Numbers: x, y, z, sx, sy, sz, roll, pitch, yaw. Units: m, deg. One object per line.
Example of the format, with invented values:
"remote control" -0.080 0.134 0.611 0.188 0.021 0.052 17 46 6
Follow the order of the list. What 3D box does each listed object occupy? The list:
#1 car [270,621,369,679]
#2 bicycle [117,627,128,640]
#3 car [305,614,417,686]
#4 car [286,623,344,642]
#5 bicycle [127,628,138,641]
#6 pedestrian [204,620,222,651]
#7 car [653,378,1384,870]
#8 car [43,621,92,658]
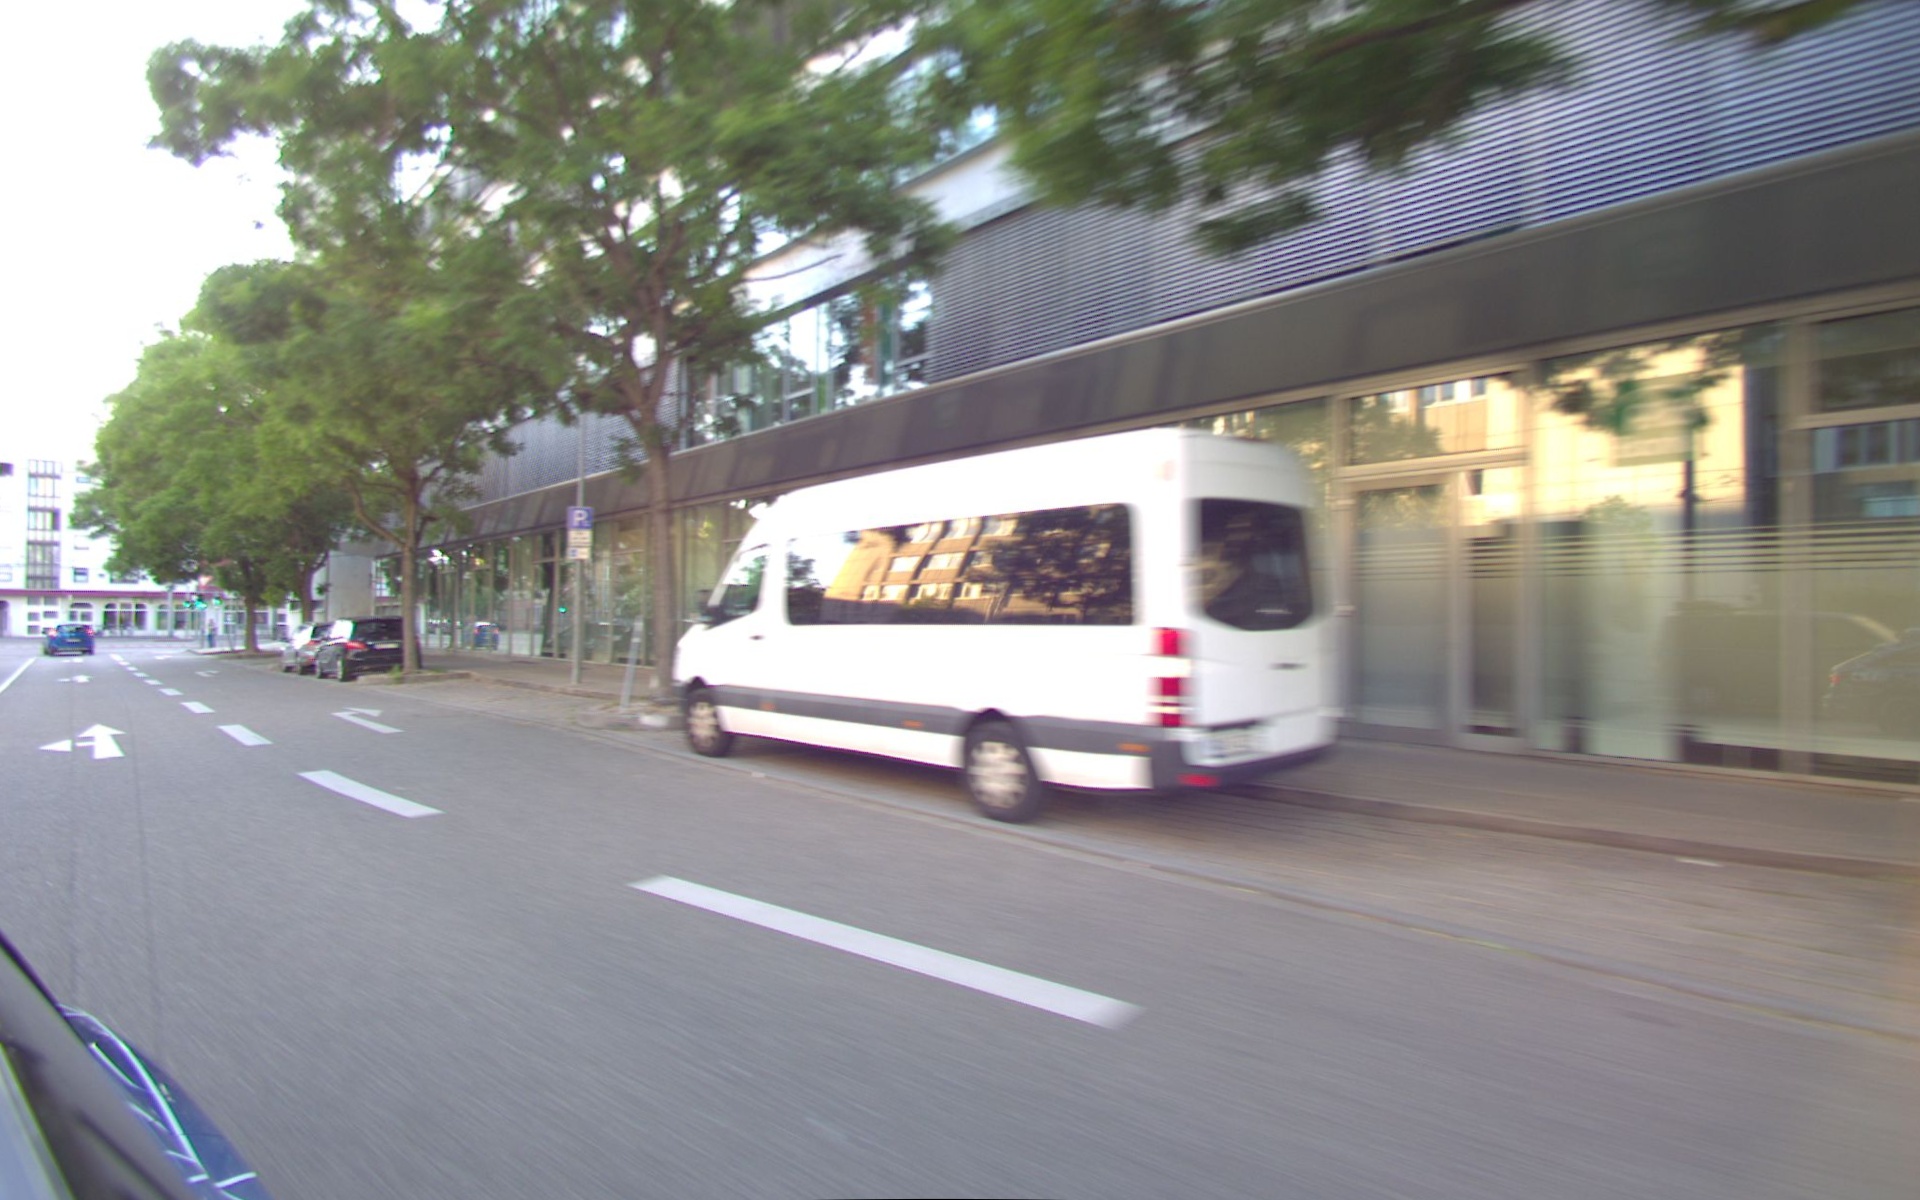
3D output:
"car" -18.768 1.410 29.579 1.683 1.472 4.632 -3 1 -42
"bicycle" -69.525 2.774 83.999 0.508 1.054 1.904 2 -2 -44
"car" -15.169 1.207 25.516 1.570 1.580 4.477 -3 1 -42
"car" -56.448 2.808 88.602 4.039 1.608 1.668 2 -2 -42
"bicycle" -68.887 2.852 84.257 0.508 1.054 1.904 2 -2 -44
"pedestrian" -41.461 1.947 56.161 0.537 1.714 0.709 1 -2 -14
"car" -0.191 0.198 8.822 2.074 2.684 6.960 1 -2 -41
"car" -44.162 1.921 50.120 1.726 1.691 4.279 0 -1 -41
